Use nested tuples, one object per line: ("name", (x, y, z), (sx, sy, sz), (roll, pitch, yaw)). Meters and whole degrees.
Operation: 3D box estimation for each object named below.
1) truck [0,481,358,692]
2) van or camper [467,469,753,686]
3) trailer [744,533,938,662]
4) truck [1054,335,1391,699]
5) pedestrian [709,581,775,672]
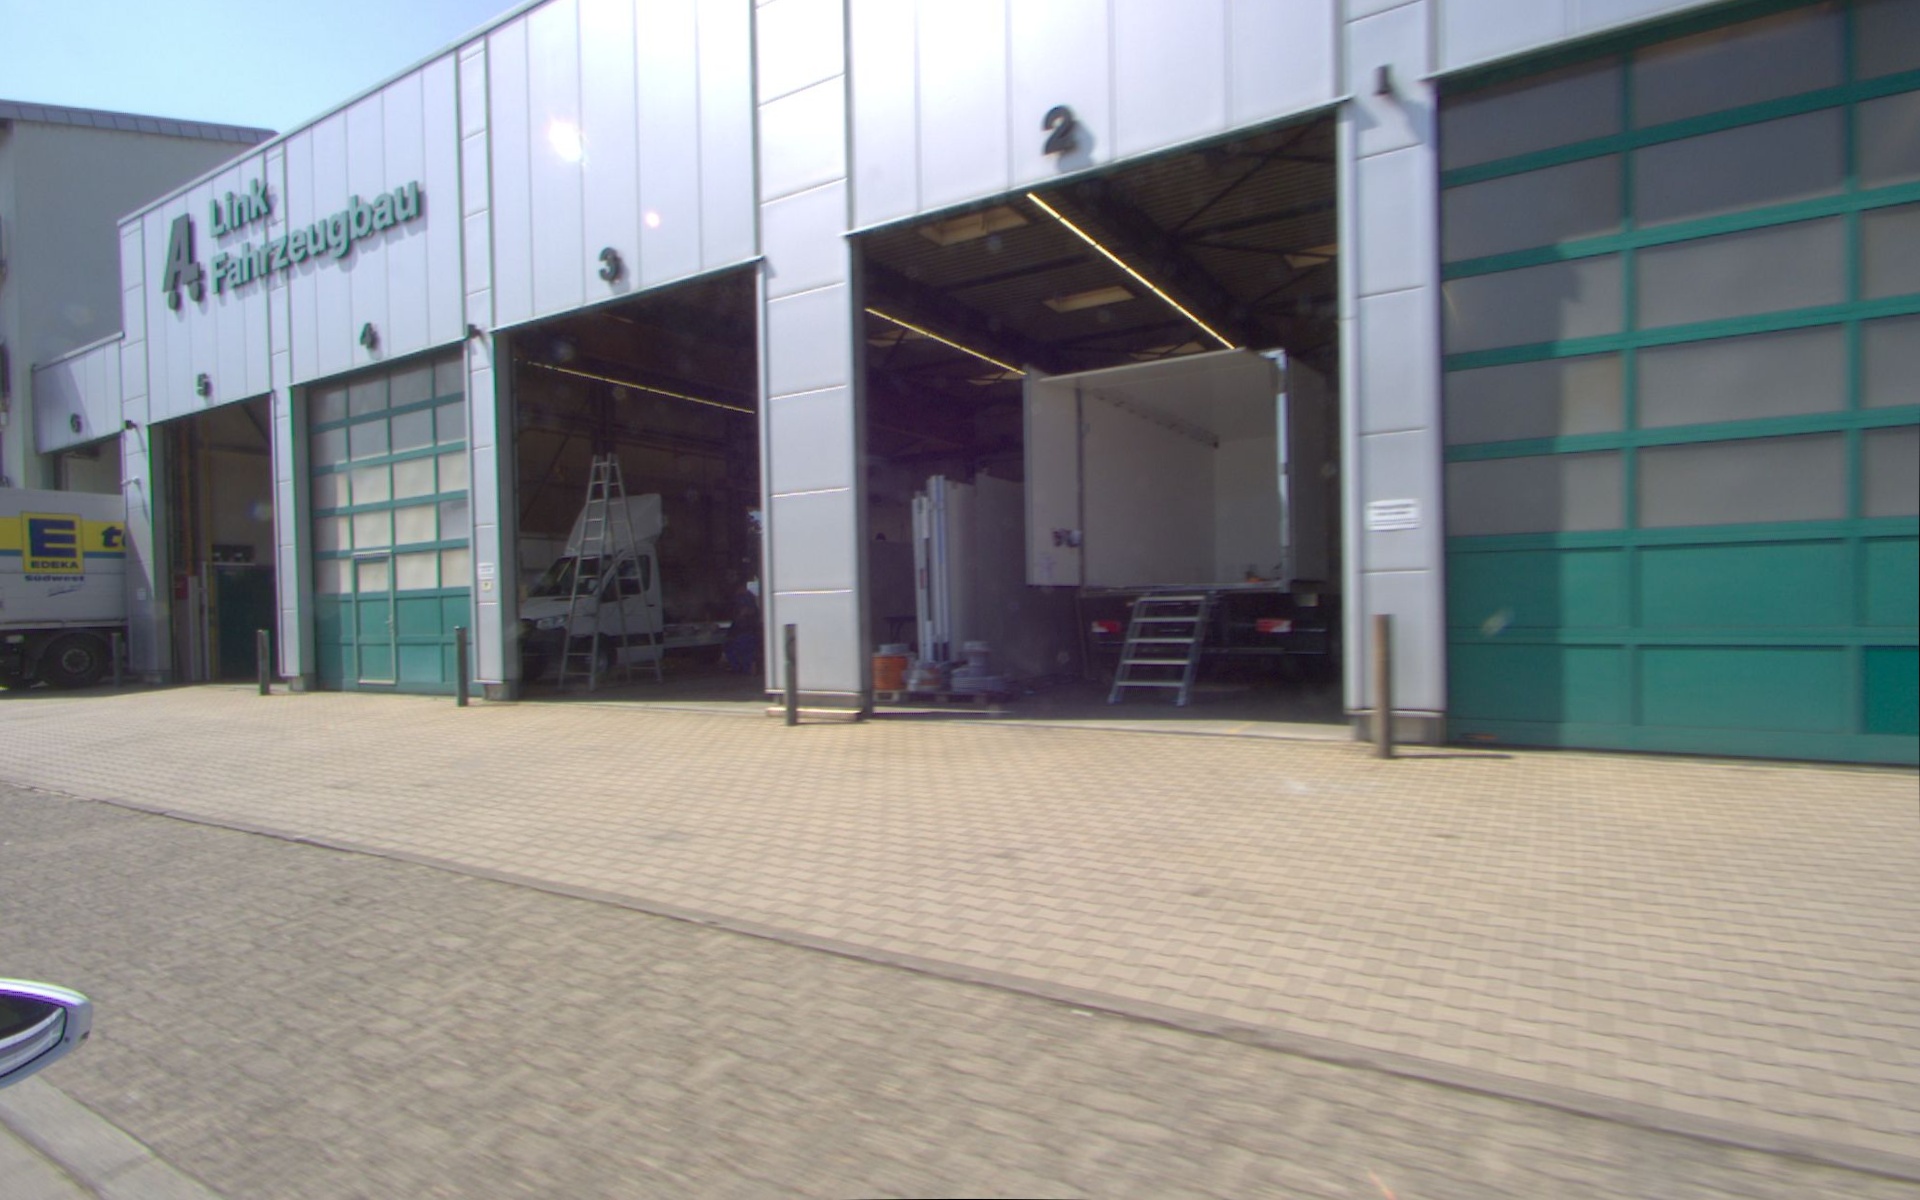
("truck", (-16.915, -0.345, 20.566), (2.723, 3.696, 7.352), (-1, 3, 25))
("van or camper", (-6.059, -0.320, 17.989), (1.969, 3.332, 4.751), (-1, 0, 28))
("trailer", (-2.761, -0.031, 24.248), (2.401, 2.800, 4.486), (-1, 0, 31))
("truck", (3.754, -0.837, 13.417), (2.740, 3.798, 5.285), (-1, 0, 34))
("pedestrian", (-4.062, 0.493, 18.671), (0.852, 1.642, 0.810), (-1, 0, 30))
